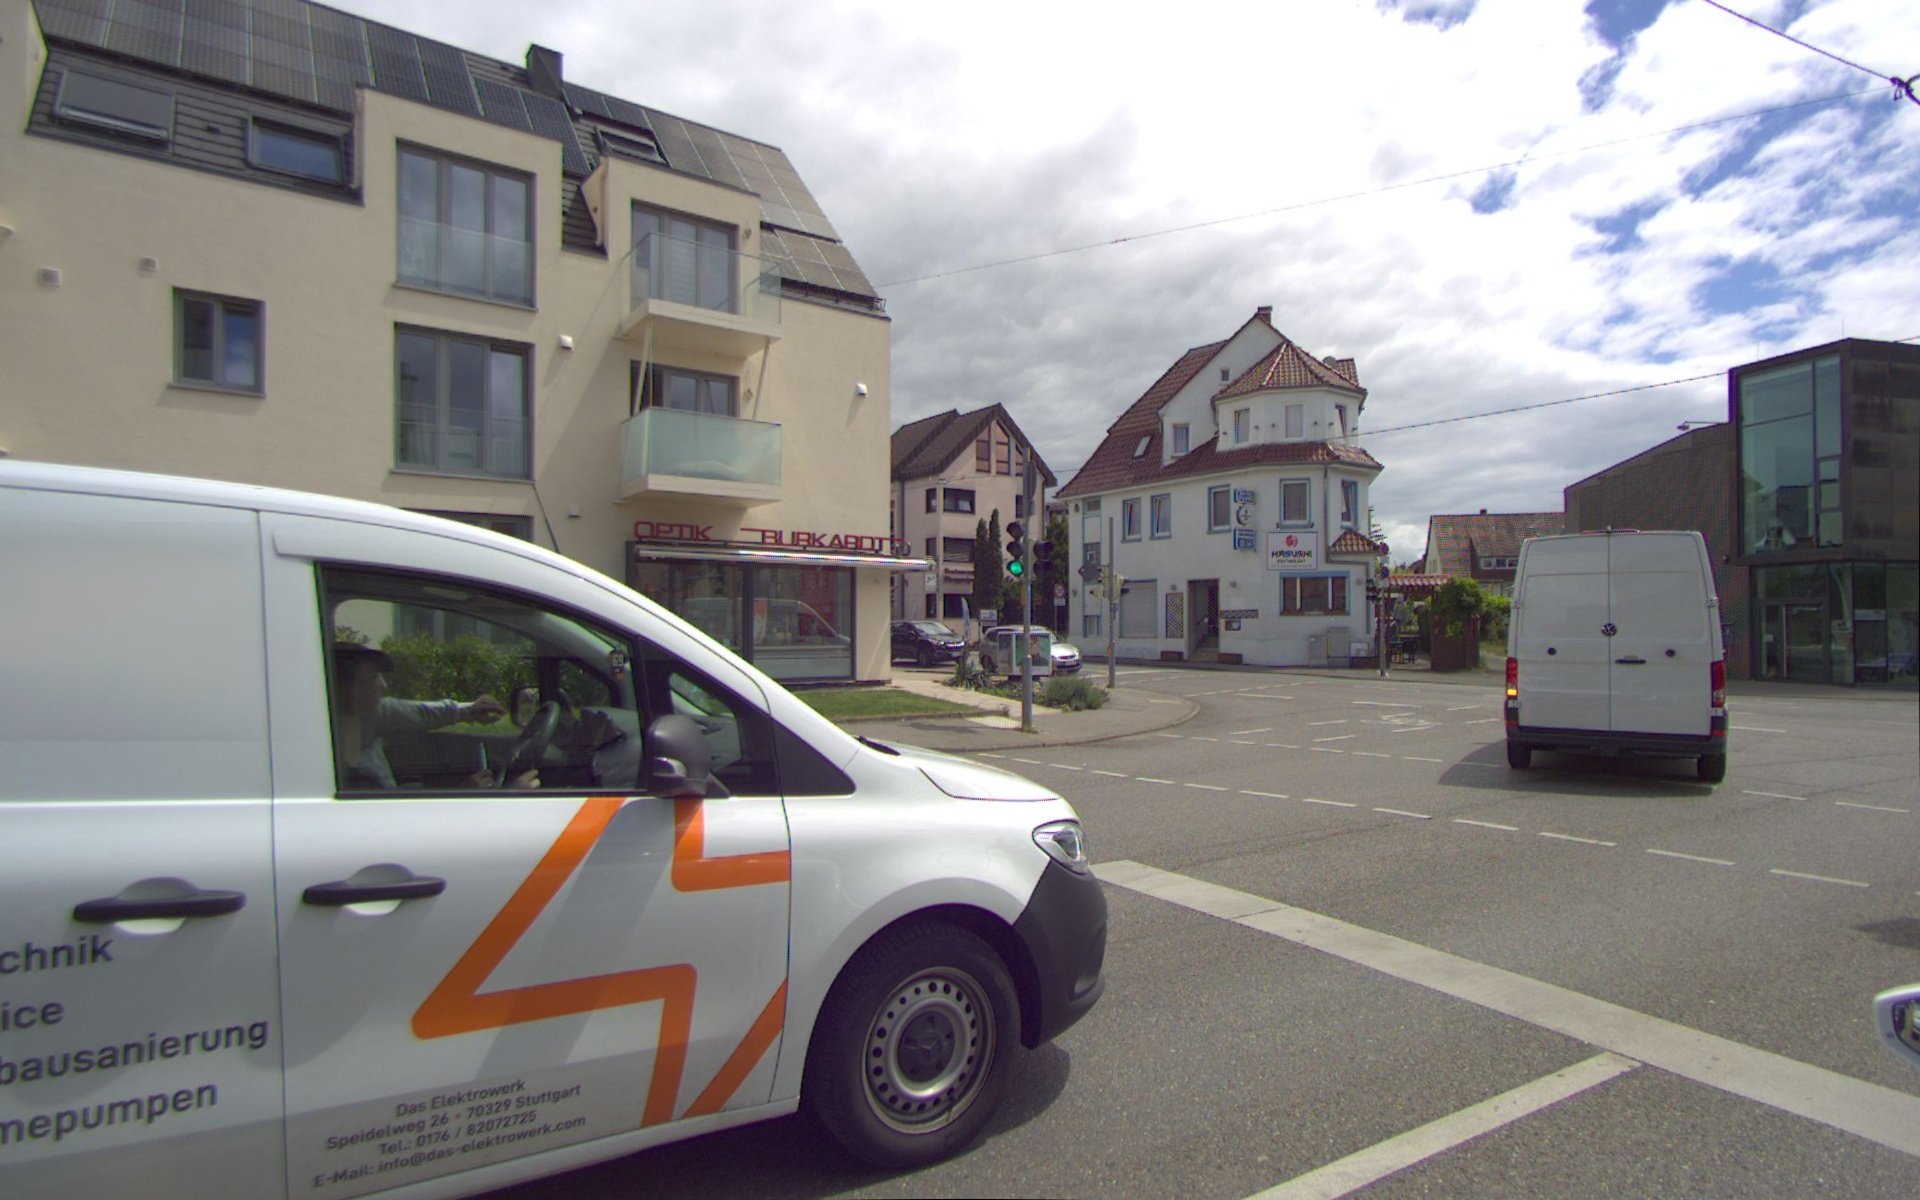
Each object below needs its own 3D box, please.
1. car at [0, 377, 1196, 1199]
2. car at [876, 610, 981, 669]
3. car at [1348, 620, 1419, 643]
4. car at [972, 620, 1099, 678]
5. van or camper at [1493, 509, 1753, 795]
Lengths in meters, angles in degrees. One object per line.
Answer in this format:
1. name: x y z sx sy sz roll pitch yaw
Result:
1. car: -1.568 0.565 2.793 4.370 1.836 1.806 2 -1 -32
2. car: -1.196 1.388 36.926 1.981 2.040 3.958 0 0 -37
3. car: 25.963 1.932 61.687 3.922 1.327 1.534 1 -1 21
4. car: 2.353 1.525 32.053 1.981 1.706 3.959 2 -2 -36
5. van or camper: 7.920 0.597 12.184 2.078 2.620 5.631 -1 -3 33
